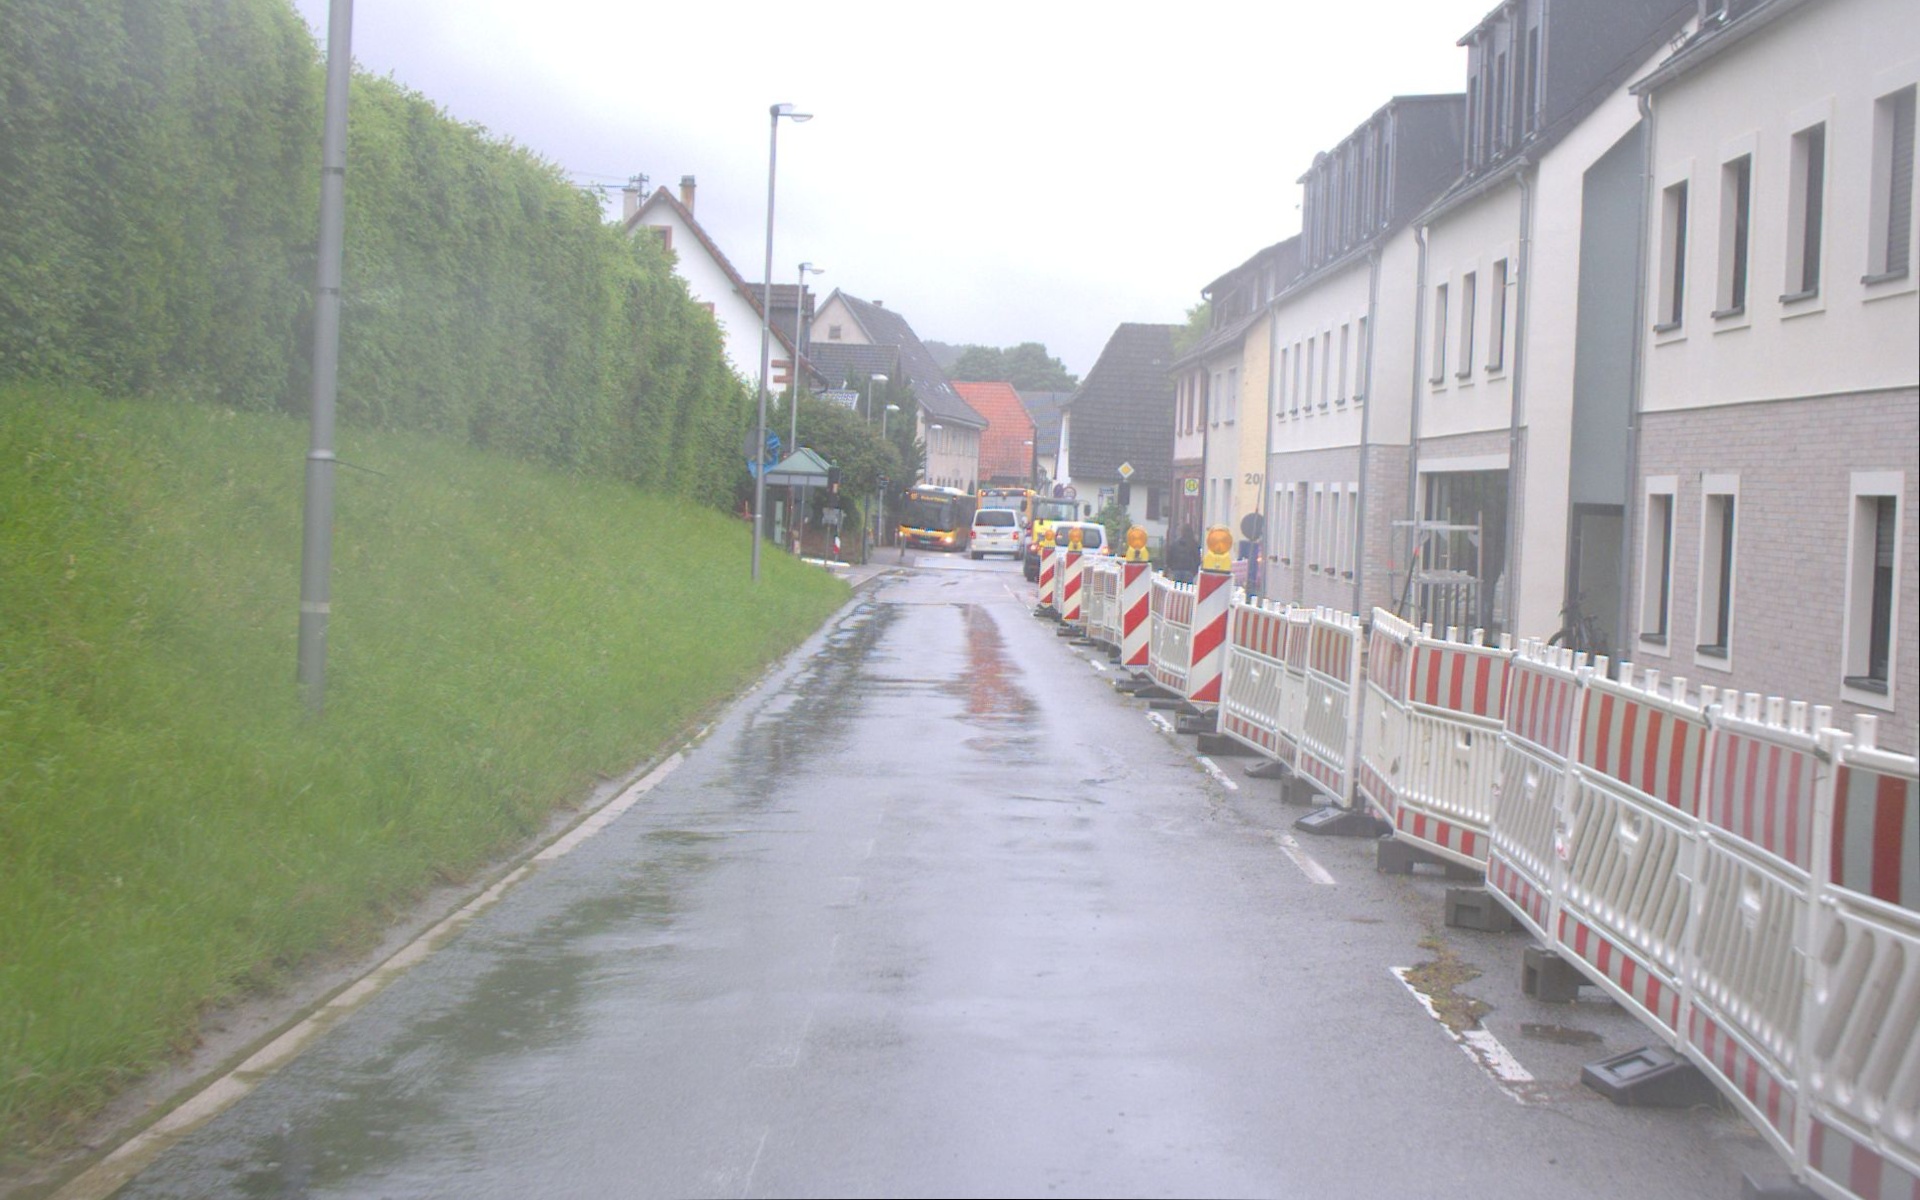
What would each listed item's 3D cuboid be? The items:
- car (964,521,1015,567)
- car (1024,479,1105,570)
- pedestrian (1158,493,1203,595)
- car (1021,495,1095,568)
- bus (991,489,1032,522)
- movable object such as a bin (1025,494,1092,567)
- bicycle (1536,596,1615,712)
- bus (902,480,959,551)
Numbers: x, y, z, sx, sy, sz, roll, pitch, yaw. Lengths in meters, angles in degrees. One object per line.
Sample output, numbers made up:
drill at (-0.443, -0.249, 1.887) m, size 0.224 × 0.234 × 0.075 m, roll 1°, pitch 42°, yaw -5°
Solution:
car at (1.124, -2.166, 131.663) m, size 1.818 × 1.636 × 4.096 m, roll -3°, pitch 1°, yaw 0°
car at (2.871, -2.093, 95.001) m, size 1.993 × 2.367 × 4.096 m, roll -3°, pitch 1°, yaw 0°
pedestrian at (3.873, -0.992, 60.416) m, size 0.665 × 1.749 × 0.812 m, roll -3°, pitch 1°, yaw 0°
car at (2.859, -2.020, 100.953) m, size 1.993 × 2.007 × 4.000 m, roll -3°, pitch 1°, yaw 0°
bus at (2.440, -4.448, 162.066) m, size 1.794 × 1.405 × 4.000 m, roll 4°, pitch 1°, yaw 2°
movable object such as a bin at (3.089, -2.207, 108.483) m, size 1.993 × 2.165 × 4.000 m, roll -3°, pitch 1°, yaw 1°
bicycle at (6.875, 0.590, 38.442) m, size 0.518 × 1.216 × 1.789 m, roll 4°, pitch 1°, yaw 1°
bus at (-1.344, -3.904, 160.377) m, size 2.241 × 3.092 × 7.030 m, roll 4°, pitch 1°, yaw 1°
